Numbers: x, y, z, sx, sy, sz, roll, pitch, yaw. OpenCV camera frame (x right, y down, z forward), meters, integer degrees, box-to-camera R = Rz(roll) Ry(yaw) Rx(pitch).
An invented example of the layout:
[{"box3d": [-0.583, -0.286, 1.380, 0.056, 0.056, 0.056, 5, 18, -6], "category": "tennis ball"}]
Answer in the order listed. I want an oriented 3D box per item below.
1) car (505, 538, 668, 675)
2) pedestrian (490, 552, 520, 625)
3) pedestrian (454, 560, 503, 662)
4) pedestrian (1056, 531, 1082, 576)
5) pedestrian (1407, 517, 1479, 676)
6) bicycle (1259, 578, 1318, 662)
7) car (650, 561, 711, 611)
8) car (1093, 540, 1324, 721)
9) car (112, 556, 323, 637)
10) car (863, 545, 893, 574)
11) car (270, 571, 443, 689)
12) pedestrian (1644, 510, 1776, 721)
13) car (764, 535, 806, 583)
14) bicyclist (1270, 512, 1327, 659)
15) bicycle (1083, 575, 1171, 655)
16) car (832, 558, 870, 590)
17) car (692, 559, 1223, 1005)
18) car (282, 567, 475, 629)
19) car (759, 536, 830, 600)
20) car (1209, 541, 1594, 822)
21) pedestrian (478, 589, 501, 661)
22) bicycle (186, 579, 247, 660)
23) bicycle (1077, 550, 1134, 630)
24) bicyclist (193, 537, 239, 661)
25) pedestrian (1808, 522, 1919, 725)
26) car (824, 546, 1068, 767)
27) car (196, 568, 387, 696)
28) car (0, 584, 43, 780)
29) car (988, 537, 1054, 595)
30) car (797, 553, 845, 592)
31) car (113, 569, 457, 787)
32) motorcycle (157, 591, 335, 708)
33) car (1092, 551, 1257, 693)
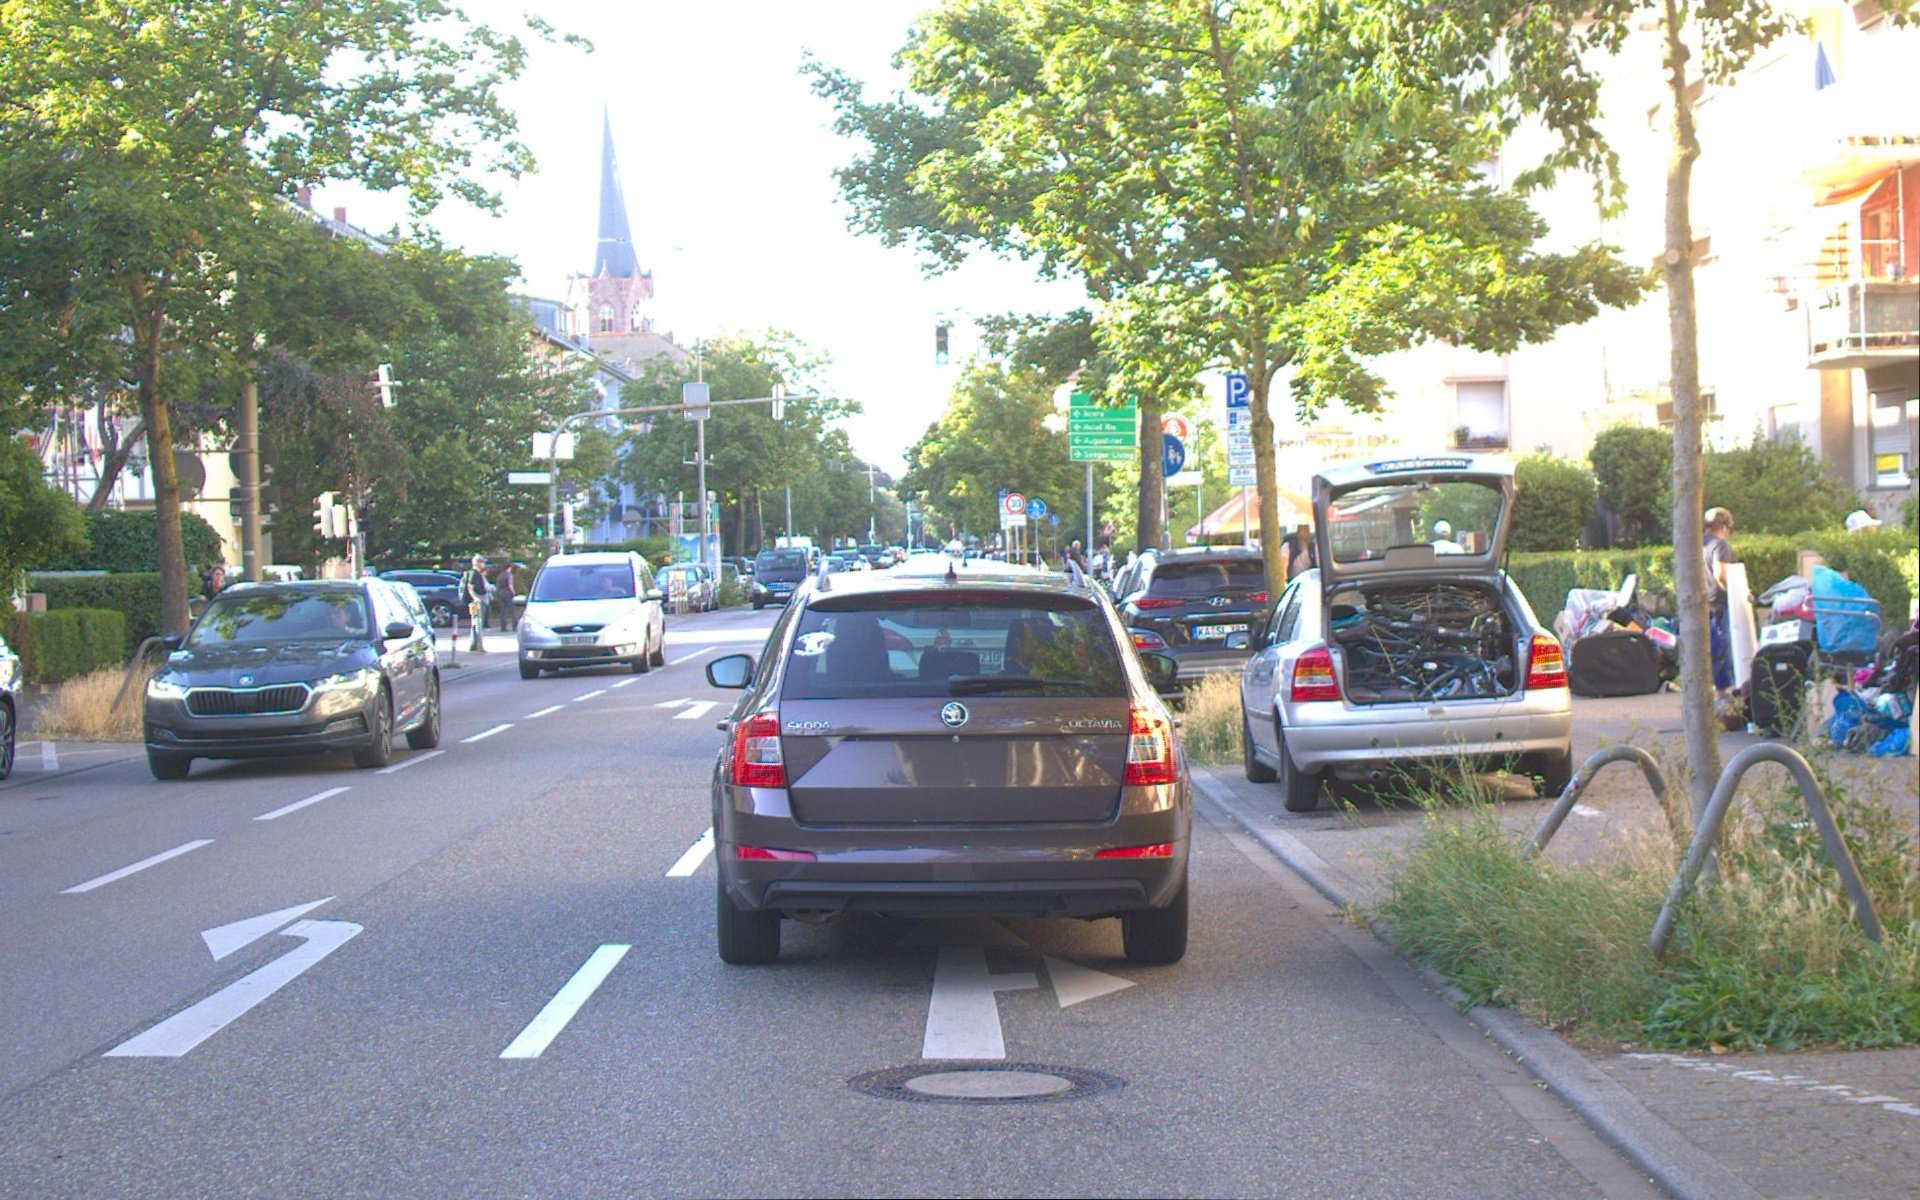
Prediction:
[{"box3d": [-5.360, 0.066, 49.835, 1.805, 1.798, 4.746, -3, 1, -1], "category": "car"}, {"box3d": [-11.320, -0.288, 85.473, 0.616, 1.791, 0.504, -2, 1, 0], "category": "pedestrian"}, {"box3d": [-9.484, 0.215, 67.717, 0.780, 1.981, 0.821, -2, 1, 0], "category": "pedestrian"}, {"box3d": [4.141, -1.765, 130.520, 0.675, 1.698, 0.800, -1, 1, 26], "category": "pedestrian"}, {"box3d": [5.463, -0.044, 38.922, 0.662, 1.743, 0.772, -3, 0, 3], "category": "pedestrian"}, {"box3d": [4.041, 0.233, 42.376, 0.516, 0.984, 1.831, -1, 1, 0], "category": "bicycle"}, {"box3d": [-8.475, -0.440, 104.504, 1.522, 1.452, 3.585, -1, 1, 0], "category": "car"}, {"box3d": [2.373, 0.259, 33.745, 1.856, 1.576, 4.014, -3, 1, -1], "category": "car"}, {"box3d": [-17.805, -0.101, 82.579, 4.634, 1.805, 1.862, -1, 1, 0], "category": "car"}, {"box3d": [-5.795, -2.868, 244.557, 1.993, 2.007, 4.000, -2, 1, 0], "category": "car"}, {"box3d": [-8.161, 0.370, 46.755, 1.648, 1.512, 4.074, 0, 1, 0], "category": "car"}, {"box3d": [5.913, 0.118, 27.101, 0.757, 1.634, 0.694, -1, 1, 36], "category": "pedestrian"}, {"box3d": [-9.205, -2.151, 181.352, 1.993, 2.469, 4.000, -1, 1, 0], "category": "car"}, {"box3d": [4.164, -0.181, 42.370, 0.581, 1.782, 0.852, -1, 1, 0], "category": "bicyclist"}, {"box3d": [2.304, 0.199, 47.309, 0.619, 1.048, 1.571, -1, 1, 26], "category": "bicycle"}, {"box3d": [-5.538, -1.339, 174.927, 1.787, 1.565, 4.000, 1, 1, 0], "category": "car"}, {"box3d": [-0.037, 0.584, 13.675, 1.773, 1.484, 4.311, 0, 1, -1], "category": "car"}, {"box3d": [-14.939, -0.067, 88.481, 4.634, 1.530, 1.862, 0, 1, 0], "category": "car"}, {"box3d": [-5.255, -1.032, 109.636, 1.993, 1.902, 4.964, -3, 1, -1], "category": "car"}, {"box3d": [2.624, 0.428, 21.337, 1.708, 1.475, 4.268, -3, 1, -1], "category": "car"}, {"box3d": [-11.778, 0.618, 86.025, 0.449, 1.791, 0.504, -2, 1, 0], "category": "pedestrian"}, {"box3d": [-10.042, 0.259, 46.467, 0.486, 1.060, 1.534, -1, 1, -1], "category": "bicycle"}, {"box3d": [2.155, -0.144, 51.141, 0.501, 1.143, 1.959, -4, 0, -6], "category": "bicycle"}, {"box3d": [-10.053, -0.013, 46.484, 0.468, 1.657, 0.552, -1, 1, -1], "category": "bicyclist"}, {"box3d": [6.975, 0.177, 26.496, 0.593, 1.535, 0.694, -1, 1, 36], "category": "pedestrian"}, {"box3d": [-0.086, 0.381, 26.631, 1.737, 1.565, 4.000, 1, 1, 0], "category": "car"}, {"box3d": [-8.134, 0.362, 42.125, 1.593, 1.465, 3.803, 1, 1, 0], "category": "car"}, {"box3d": [-8.281, 0.642, 25.301, 1.867, 1.489, 4.517, 0, 1, 0], "category": "car"}, {"box3d": [1.950, -1.087, 108.738, 1.994, 1.766, 4.000, 1, 1, 3], "category": "car"}, {"box3d": [-5.935, -1.172, 146.950, 1.830, 1.574, 4.000, -2, 1, 0], "category": "car"}, {"box3d": [-5.215, 0.543, 27.134, 1.760, 1.447, 4.534, -4, 1, 0], "category": "car"}, {"box3d": [-7.986, 0.553, 38.417, 2.052, 1.260, 0.765, -1, 1, 38], "category": "motorcycle"}, {"box3d": [2.406, 0.210, 39.340, 1.703, 1.445, 4.013, -3, 1, 2], "category": "car"}]
